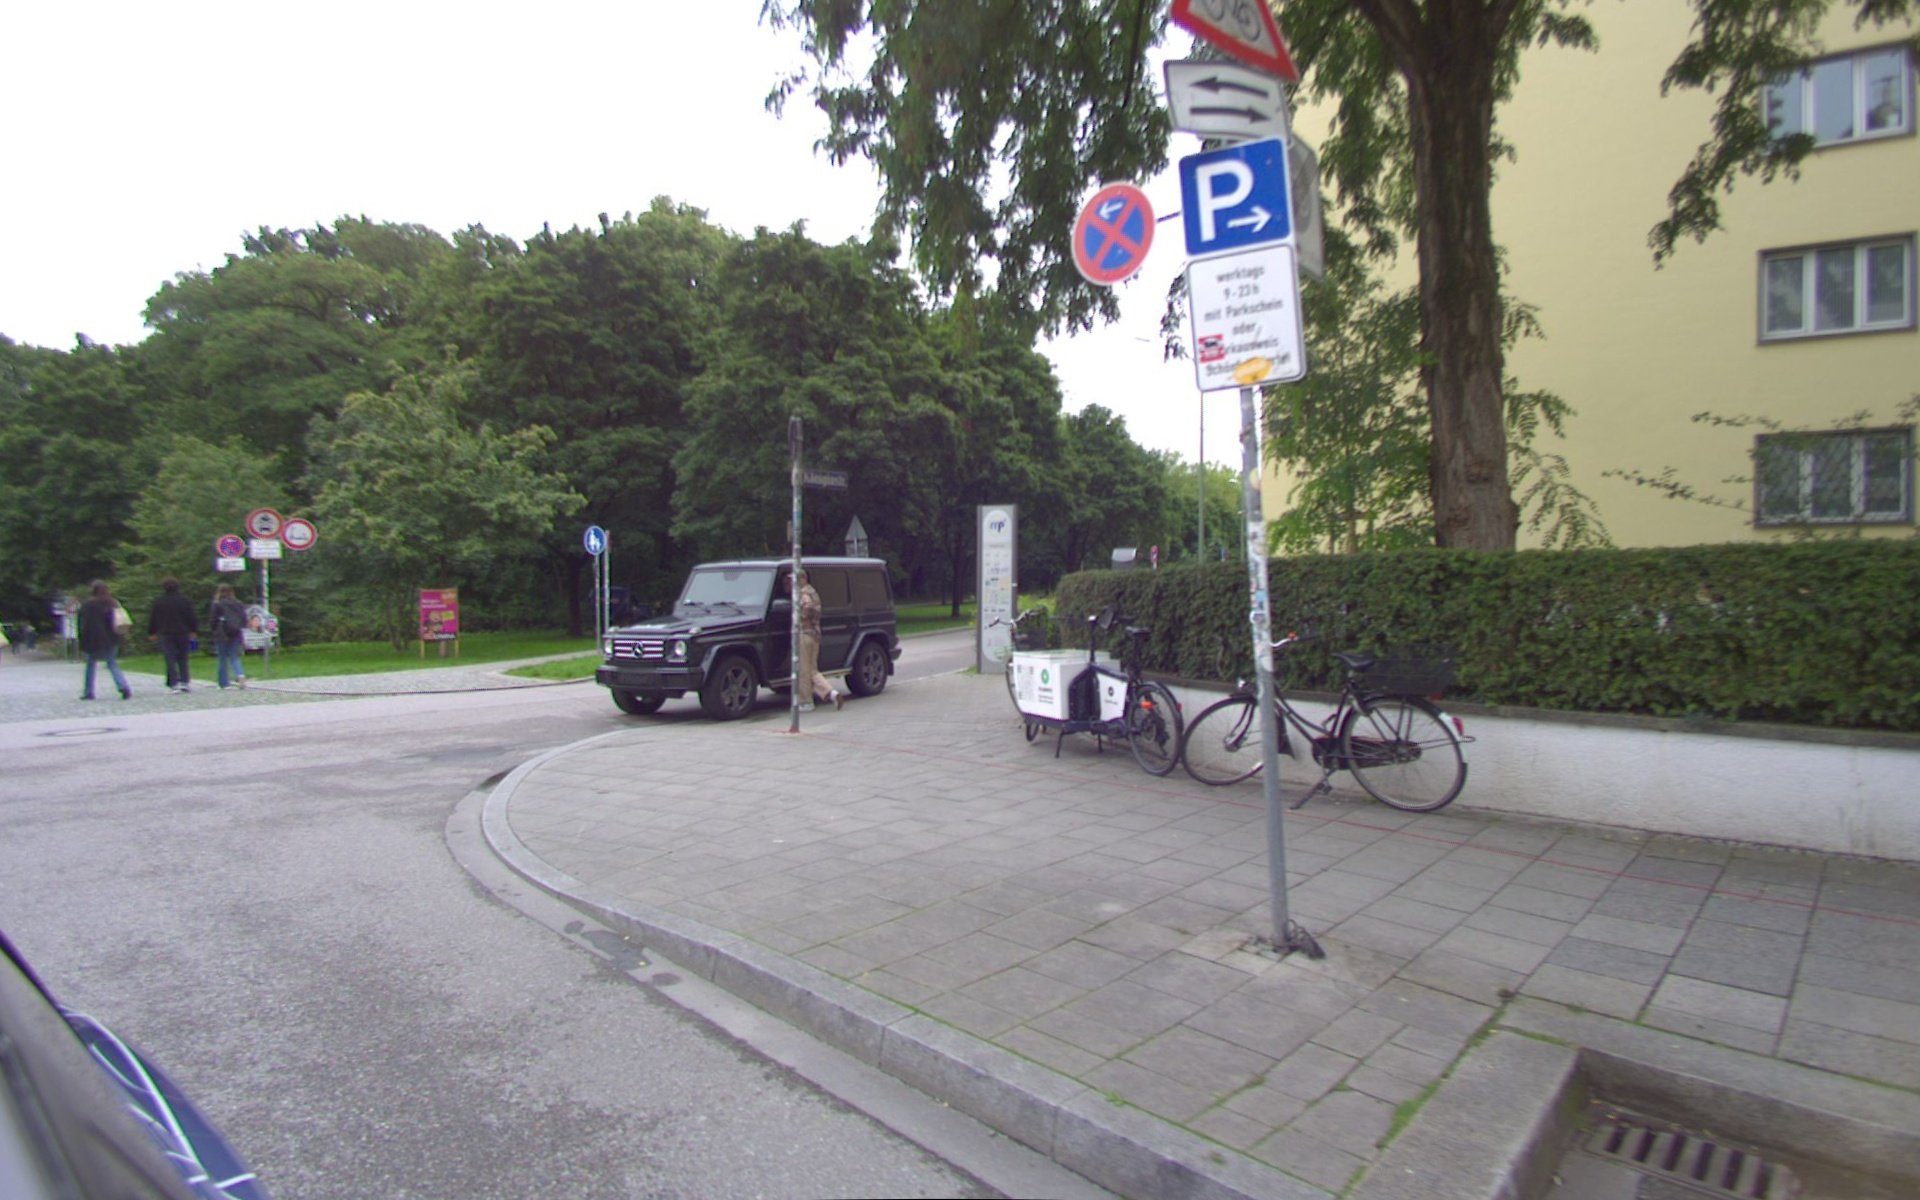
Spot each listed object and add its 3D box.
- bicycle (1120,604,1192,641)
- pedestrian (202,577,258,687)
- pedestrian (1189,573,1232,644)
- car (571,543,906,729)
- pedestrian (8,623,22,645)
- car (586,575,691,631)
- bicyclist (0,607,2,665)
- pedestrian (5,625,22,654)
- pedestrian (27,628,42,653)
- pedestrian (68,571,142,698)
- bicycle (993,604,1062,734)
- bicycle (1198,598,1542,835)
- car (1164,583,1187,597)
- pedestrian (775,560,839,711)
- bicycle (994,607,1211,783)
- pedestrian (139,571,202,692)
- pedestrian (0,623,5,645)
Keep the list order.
[{"bbox_3d":[5.167,0.596,26.640,1.810,0.954,0.383,0,1,-5],"label":"bicycle"},{"bbox_3d":[-12.299,0.535,17.048,0.801,1.795,0.625,-3,-3,44],"label":"pedestrian"},{"bbox_3d":[6.165,0.196,24.912,0.827,1.689,0.682,1,1,33],"label":"pedestrian"},{"bbox_3d":[-2.690,0.357,13.369,1.928,2.016,4.377,1,1,29],"label":"car"},{"bbox_3d":[-74.422,2.688,79.671,0.922,1.685,0.732,-5,-2,45],"label":"pedestrian"},{"bbox_3d":[-12.920,0.101,40.847,3.901,2.120,1.910,-1,1,-15],"label":"car"},{"bbox_3d":[-30.523,1.139,31.599,0.767,1.816,0.845,-1,1,44],"label":"bicyclist"},{"bbox_3d":[-58.649,2.450,62.709,0.774,1.685,0.676,-5,-2,45],"label":"pedestrian"},{"bbox_3d":[-62.966,2.763,68.861,0.774,1.685,0.676,-5,-2,45],"label":"pedestrian"},{"bbox_3d":[-12.994,0.525,15.373,1.115,1.847,0.741,-3,-3,44],"label":"pedestrian"},{"bbox_3d":[0.654,0.631,10.151,0.575,1.165,1.950,-2,0,3],"label":"bicycle"},{"bbox_3d":[2.393,0.605,6.107,0.555,1.219,1.856,-2,1,-43],"label":"bicycle"},{"bbox_3d":[22.311,-1.076,104.804,1.735,1.400,3.944,1,1,22],"label":"car"},{"bbox_3d":[-1.902,0.435,12.562,0.551,1.812,0.642,-1,-2,-28],"label":"pedestrian"},{"bbox_3d":[1.014,0.647,7.951,0.573,1.134,2.305,-2,1,-22],"label":"bicycle"},{"bbox_3d":[-12.898,0.520,16.542,0.804,1.918,0.698,-3,-3,44],"label":"pedestrian"},{"bbox_3d":[-75.077,2.692,78.967,0.922,1.685,0.732,-5,-2,45],"label":"pedestrian"}]
